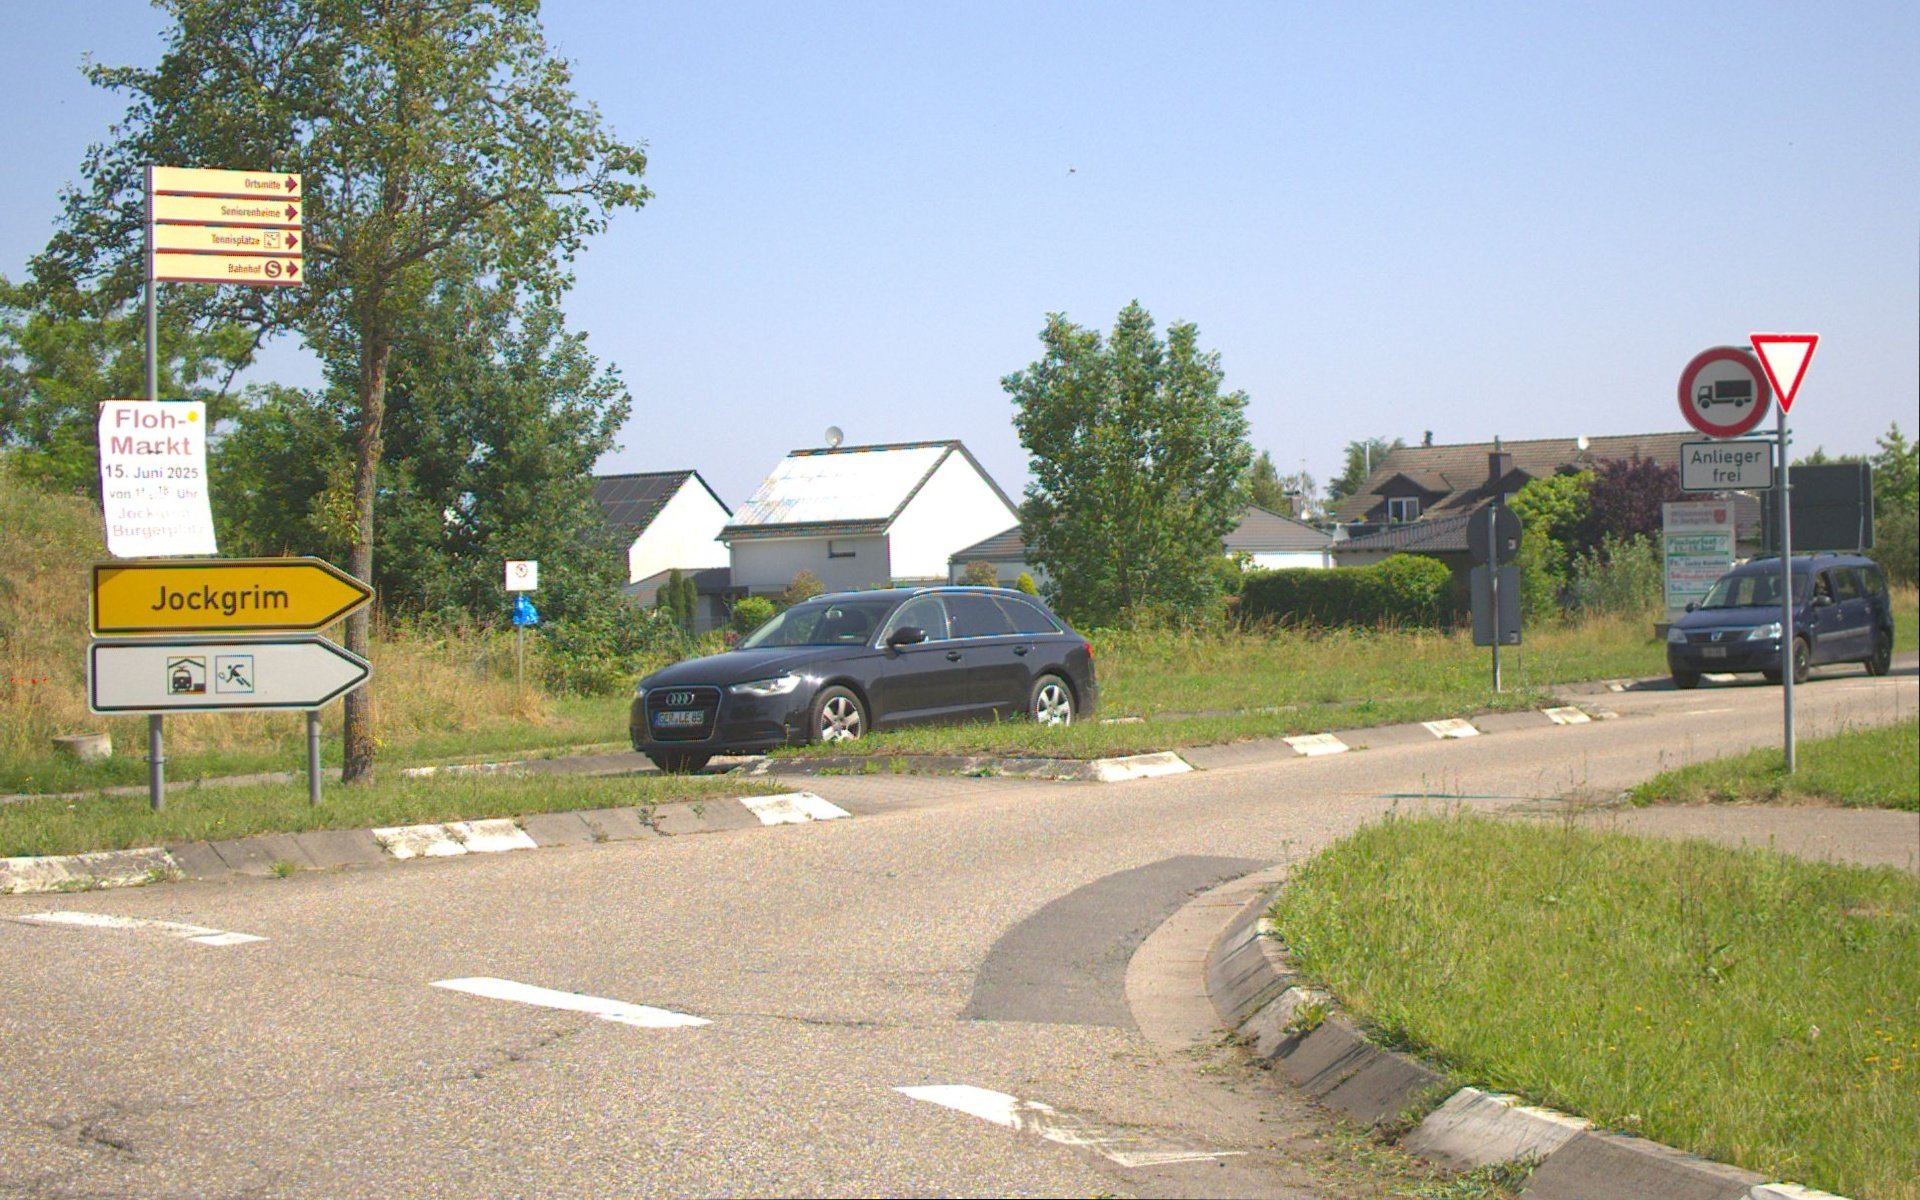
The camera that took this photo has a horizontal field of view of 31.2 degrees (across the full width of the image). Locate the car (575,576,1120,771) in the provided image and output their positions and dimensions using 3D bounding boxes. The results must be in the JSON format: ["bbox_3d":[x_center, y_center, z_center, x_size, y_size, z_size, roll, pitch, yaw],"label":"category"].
[{"bbox_3d":[-0.838,0.577,28.997,1.921,1.429,4.902,-4,-2,36],"label":"car"}]

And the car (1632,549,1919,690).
[{"bbox_3d":[10.725,0.230,44.840,1.814,1.635,4.645,-5,-3,38],"label":"car"}]
